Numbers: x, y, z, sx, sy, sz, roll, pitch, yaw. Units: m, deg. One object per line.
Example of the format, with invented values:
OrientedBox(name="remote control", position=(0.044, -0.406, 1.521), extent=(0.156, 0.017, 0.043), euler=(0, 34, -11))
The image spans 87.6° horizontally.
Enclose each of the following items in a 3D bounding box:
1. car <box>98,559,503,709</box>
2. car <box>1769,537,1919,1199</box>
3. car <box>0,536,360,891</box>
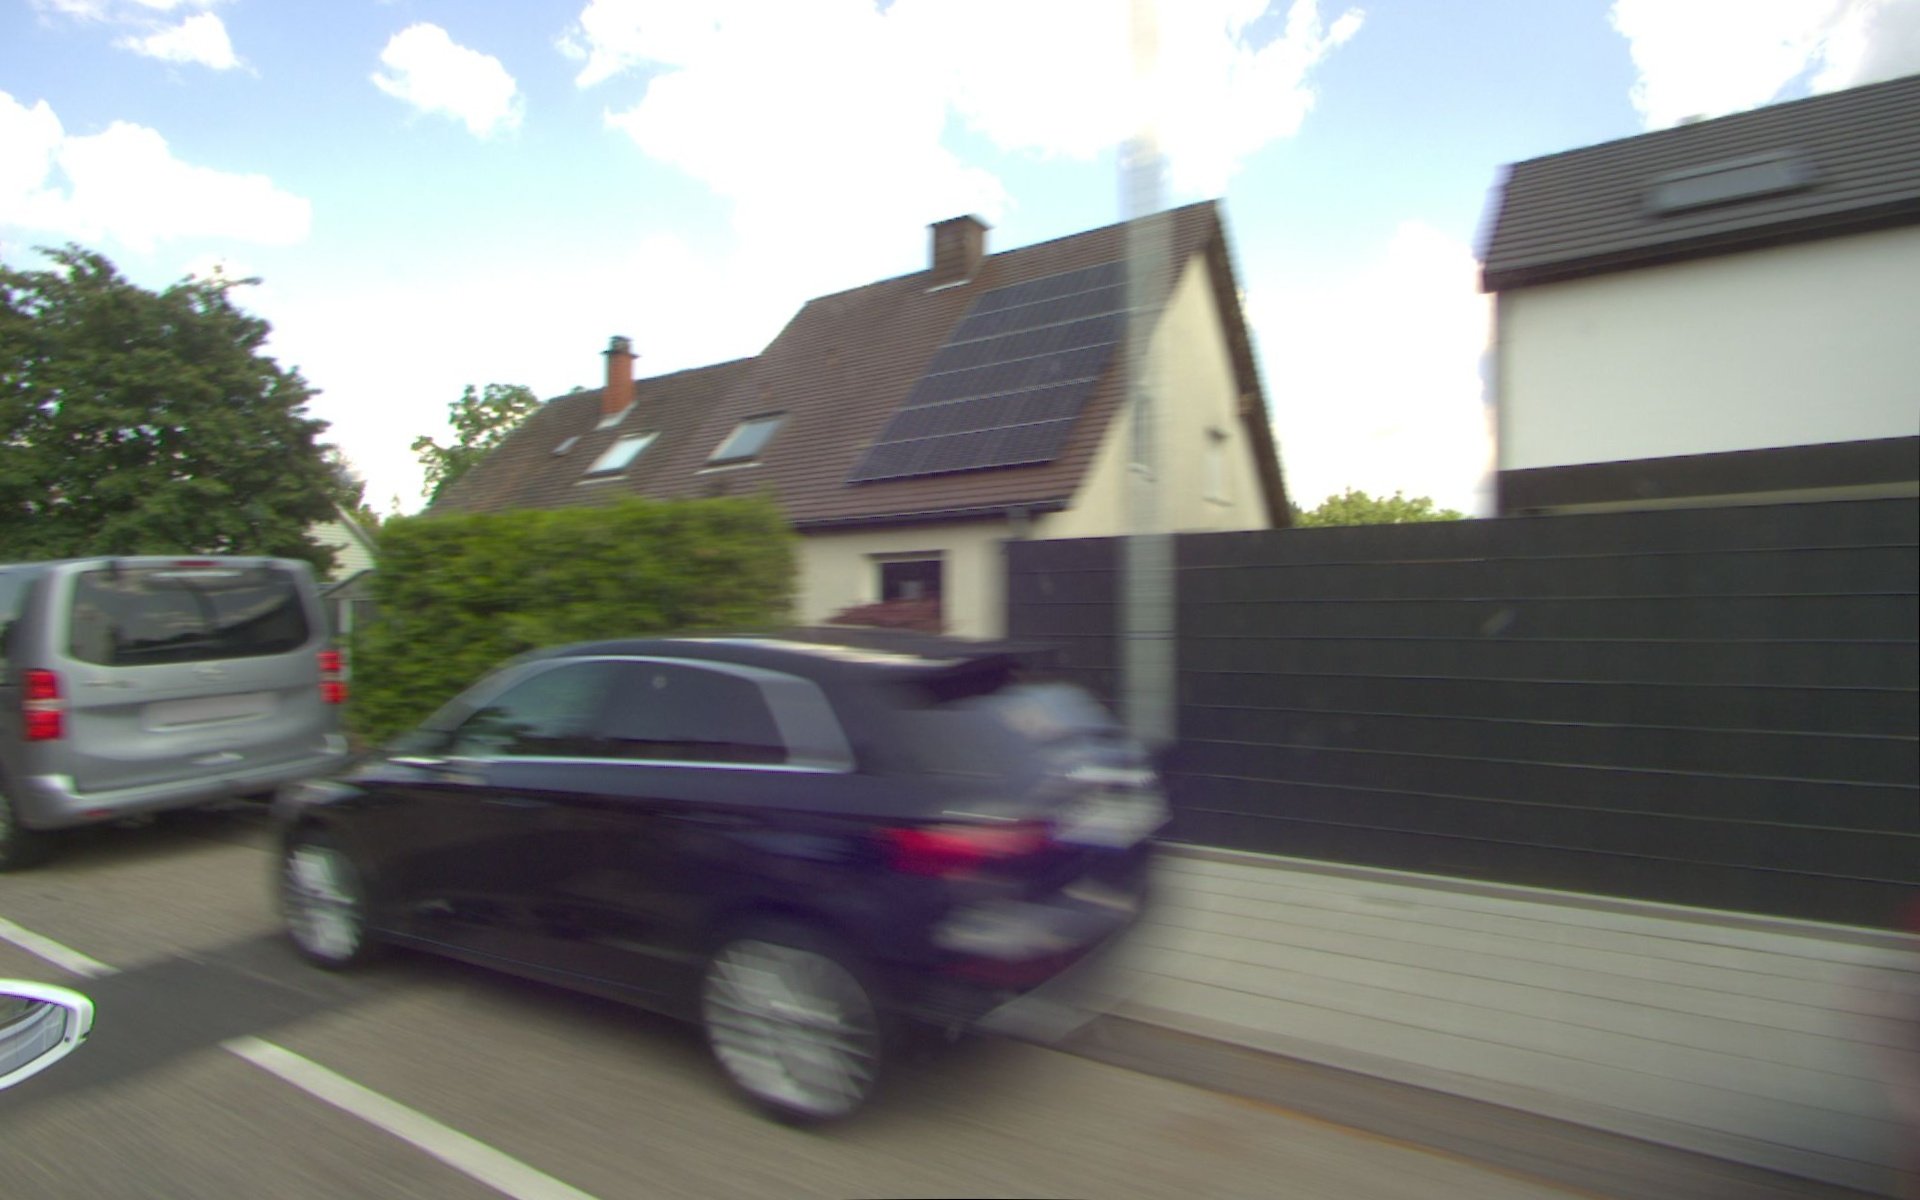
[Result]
OrientedBox(name="car", position=(-10.638, 0.599, 16.482), extent=(5.305, 2.083, 1.982), euler=(3, -3, -43))
OrientedBox(name="car", position=(3.881, 0.695, 0.939), extent=(4.666, 1.599, 1.846), euler=(-1, -2, 33))
OrientedBox(name="car", position=(-6.821, 0.650, 7.550), extent=(4.803, 1.970, 1.839), euler=(-1, 1, 30))
